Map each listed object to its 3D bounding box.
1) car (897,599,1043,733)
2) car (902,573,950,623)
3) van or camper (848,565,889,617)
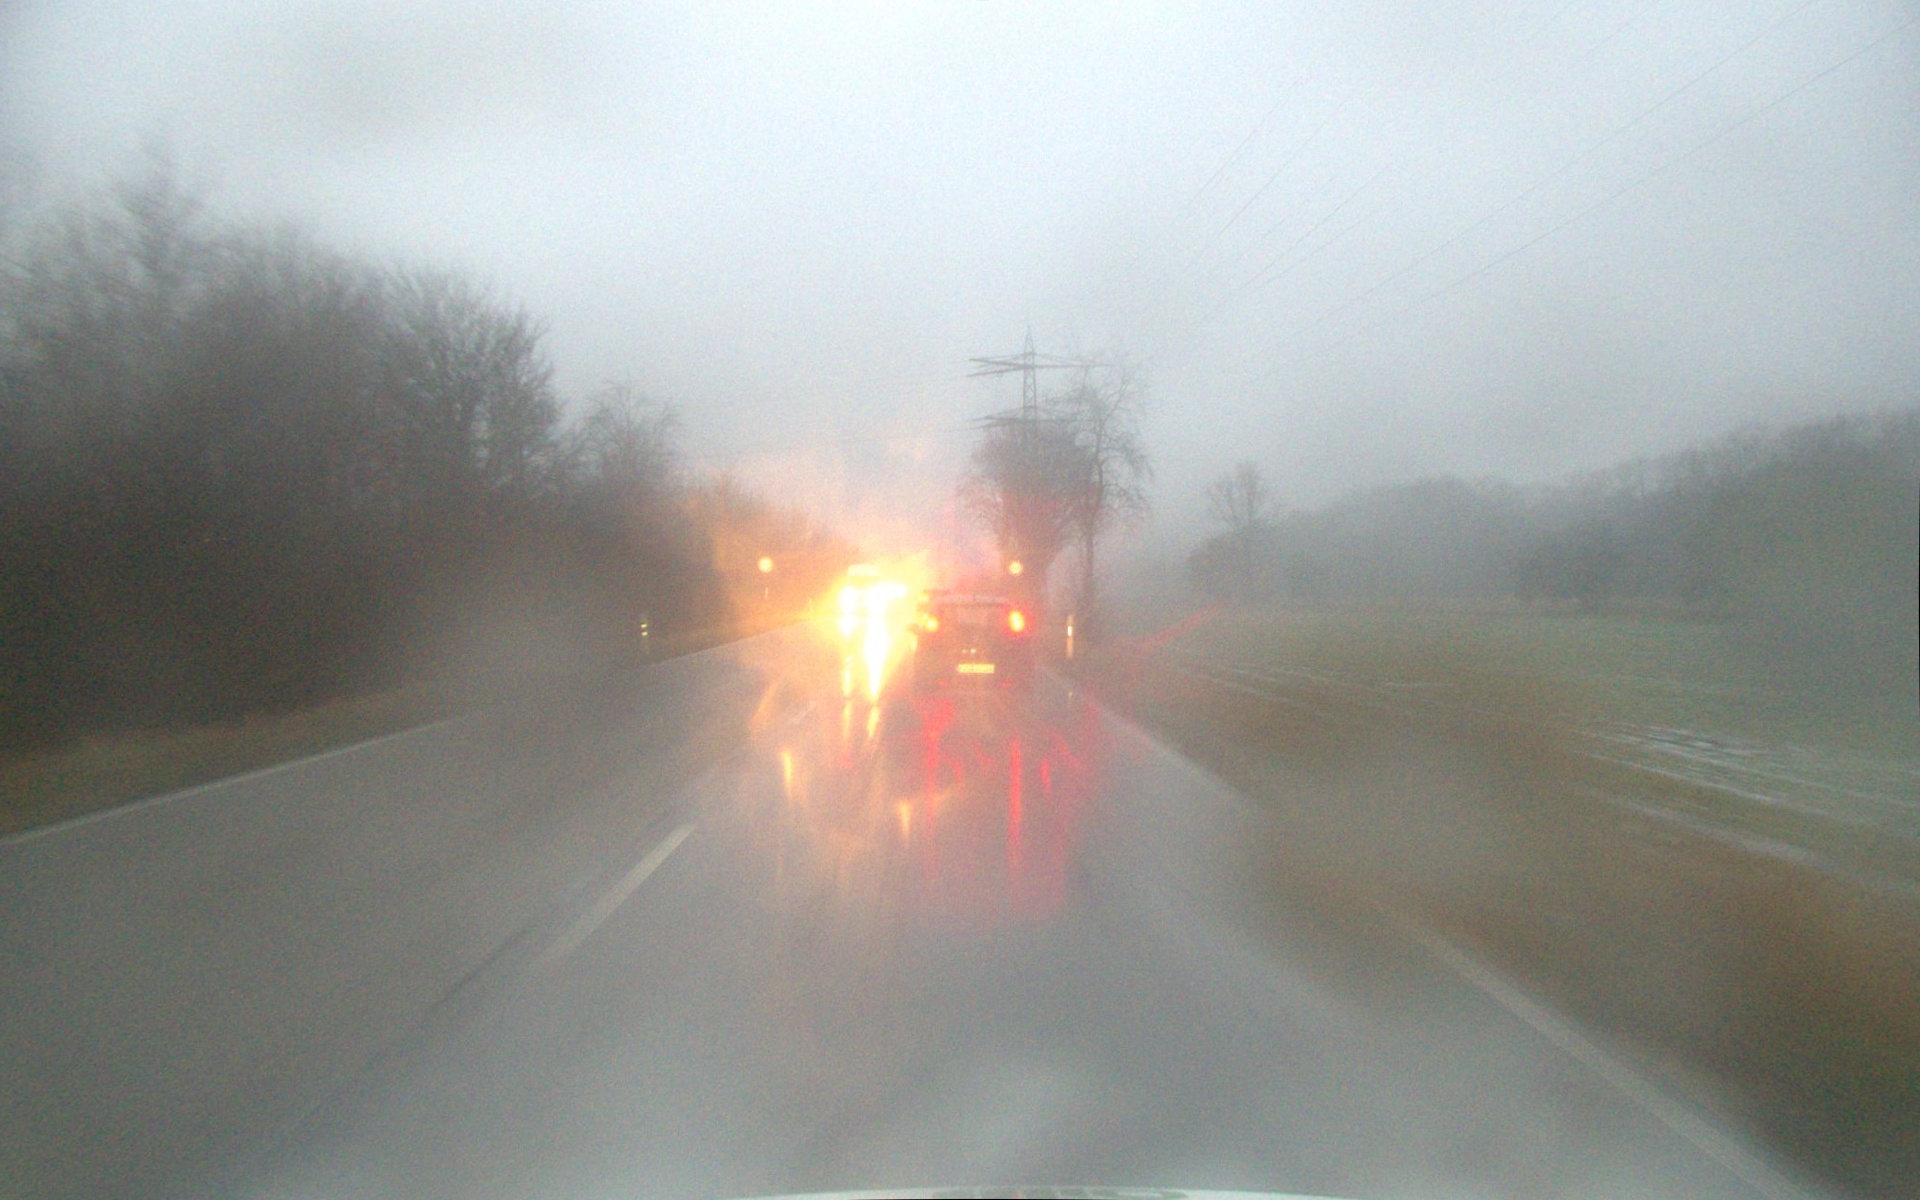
[{"bbox_3d":[0.091,0.888,24.186,1.953,1.783,3.999,0,0,-1],"label":"car"},{"bbox_3d":[-1.435,-0.082,69.513,1.953,2.049,3.999,-1,0,-1],"label":"car"},{"bbox_3d":[-5.072,-0.500,92.439,1.980,2.825,6.742,-1,0,-1],"label":"van or camper"}]
